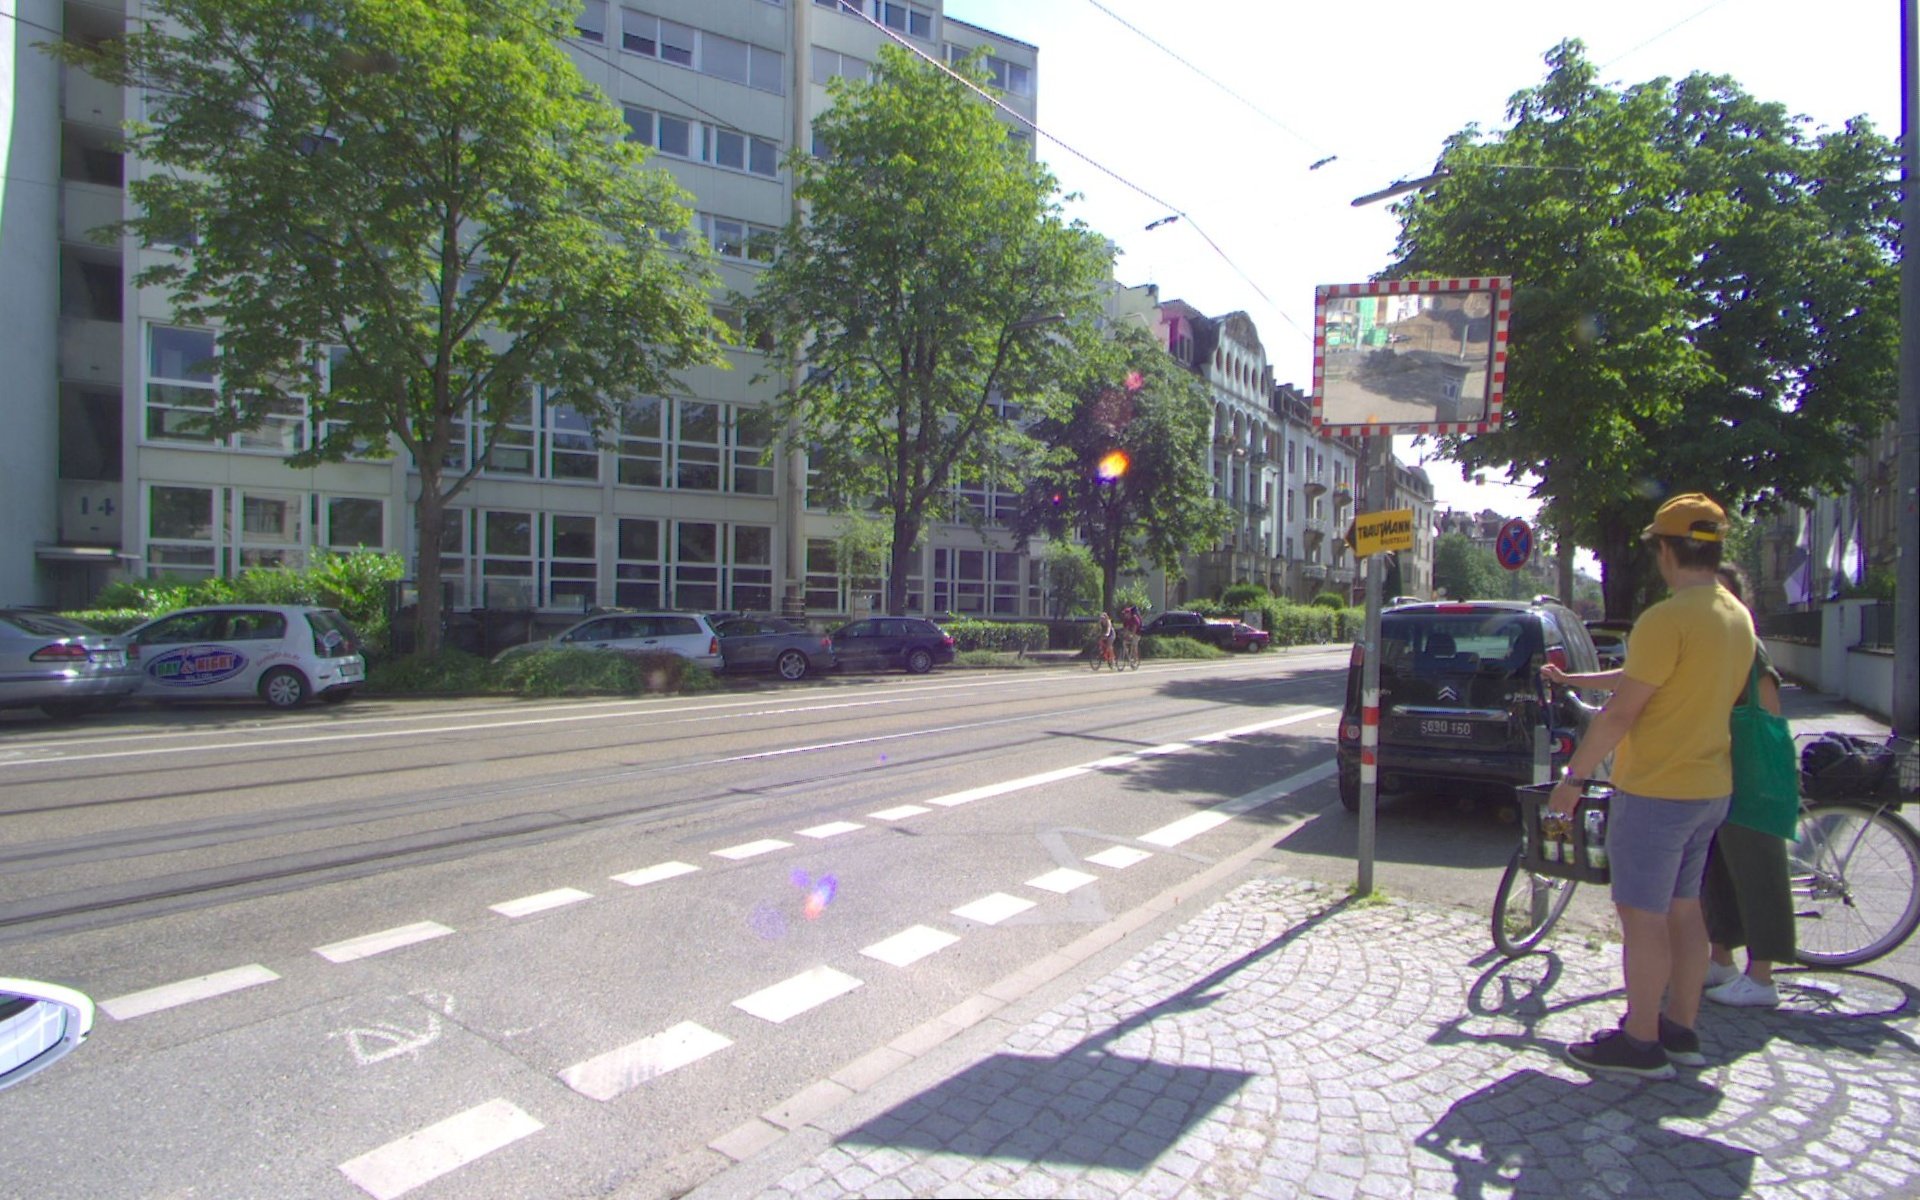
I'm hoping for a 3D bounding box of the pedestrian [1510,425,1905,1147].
[{"bbox_3d":[2.261,0.494,3.177,0.840,1.889,0.827,0,0,26],"label":"pedestrian"}]

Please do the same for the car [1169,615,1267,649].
[{"bbox_3d":[11.985,1.490,46.599,3.925,1.528,1.999,1,0,-10],"label":"car"}]

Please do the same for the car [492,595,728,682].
[{"bbox_3d":[-6.817,0.751,19.928,4.264,1.625,1.557,0,-1,-13],"label":"car"}]

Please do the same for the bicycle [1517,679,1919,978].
[{"bbox_3d":[3.144,0.882,4.064,1.485,1.055,0.363,0,0,18],"label":"bicycle"}]

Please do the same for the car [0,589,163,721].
[{"bbox_3d":[-12.232,0.618,12.025,3.870,1.505,1.612,1,0,-8],"label":"car"}]

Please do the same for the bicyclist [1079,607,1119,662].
[{"bbox_3d":[4.028,0.980,28.948,0.794,1.563,0.858,1,0,39],"label":"bicyclist"}]

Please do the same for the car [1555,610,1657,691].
[{"bbox_3d":[15.072,1.102,23.327,1.831,1.702,3.977,0,-1,34],"label":"car"}]

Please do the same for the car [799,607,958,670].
[{"bbox_3d":[-2.084,0.956,25.180,3.871,1.505,1.557,1,0,-10],"label":"car"}]

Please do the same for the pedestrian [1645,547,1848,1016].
[{"bbox_3d":[2.936,0.634,3.772,0.445,1.643,0.421,1,0,18],"label":"pedestrian"}]

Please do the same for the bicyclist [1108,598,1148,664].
[{"bbox_3d":[4.745,0.862,28.265,0.794,1.825,0.858,1,0,39],"label":"bicyclist"}]

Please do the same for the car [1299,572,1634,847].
[{"bbox_3d":[4.397,0.712,8.357,1.833,1.706,3.973,0,-1,37],"label":"car"}]

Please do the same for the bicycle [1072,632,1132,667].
[{"bbox_3d":[4.132,1.416,29.023,0.671,0.929,2.304,1,0,38],"label":"bicycle"}]

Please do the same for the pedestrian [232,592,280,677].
[{"bbox_3d":[-12.523,0.606,17.808,0.419,1.480,0.617,1,0,41],"label":"pedestrian"}]

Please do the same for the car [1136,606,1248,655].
[{"bbox_3d":[9.296,1.213,40.182,3.929,1.884,1.996,1,0,-17],"label":"car"}]

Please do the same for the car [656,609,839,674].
[{"bbox_3d":[-4.701,0.921,22.476,3.871,1.375,1.557,1,0,-10],"label":"car"}]

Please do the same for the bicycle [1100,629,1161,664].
[{"bbox_3d":[4.838,1.293,28.263,0.671,0.929,2.304,1,0,38],"label":"bicycle"}]

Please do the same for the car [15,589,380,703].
[{"bbox_3d":[-10.793,0.618,14.440,3.870,1.505,1.612,0,0,-9],"label":"car"}]

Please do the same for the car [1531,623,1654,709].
[{"bbox_3d":[12.251,1.181,19.332,1.831,1.430,3.977,0,-1,34],"label":"car"}]
